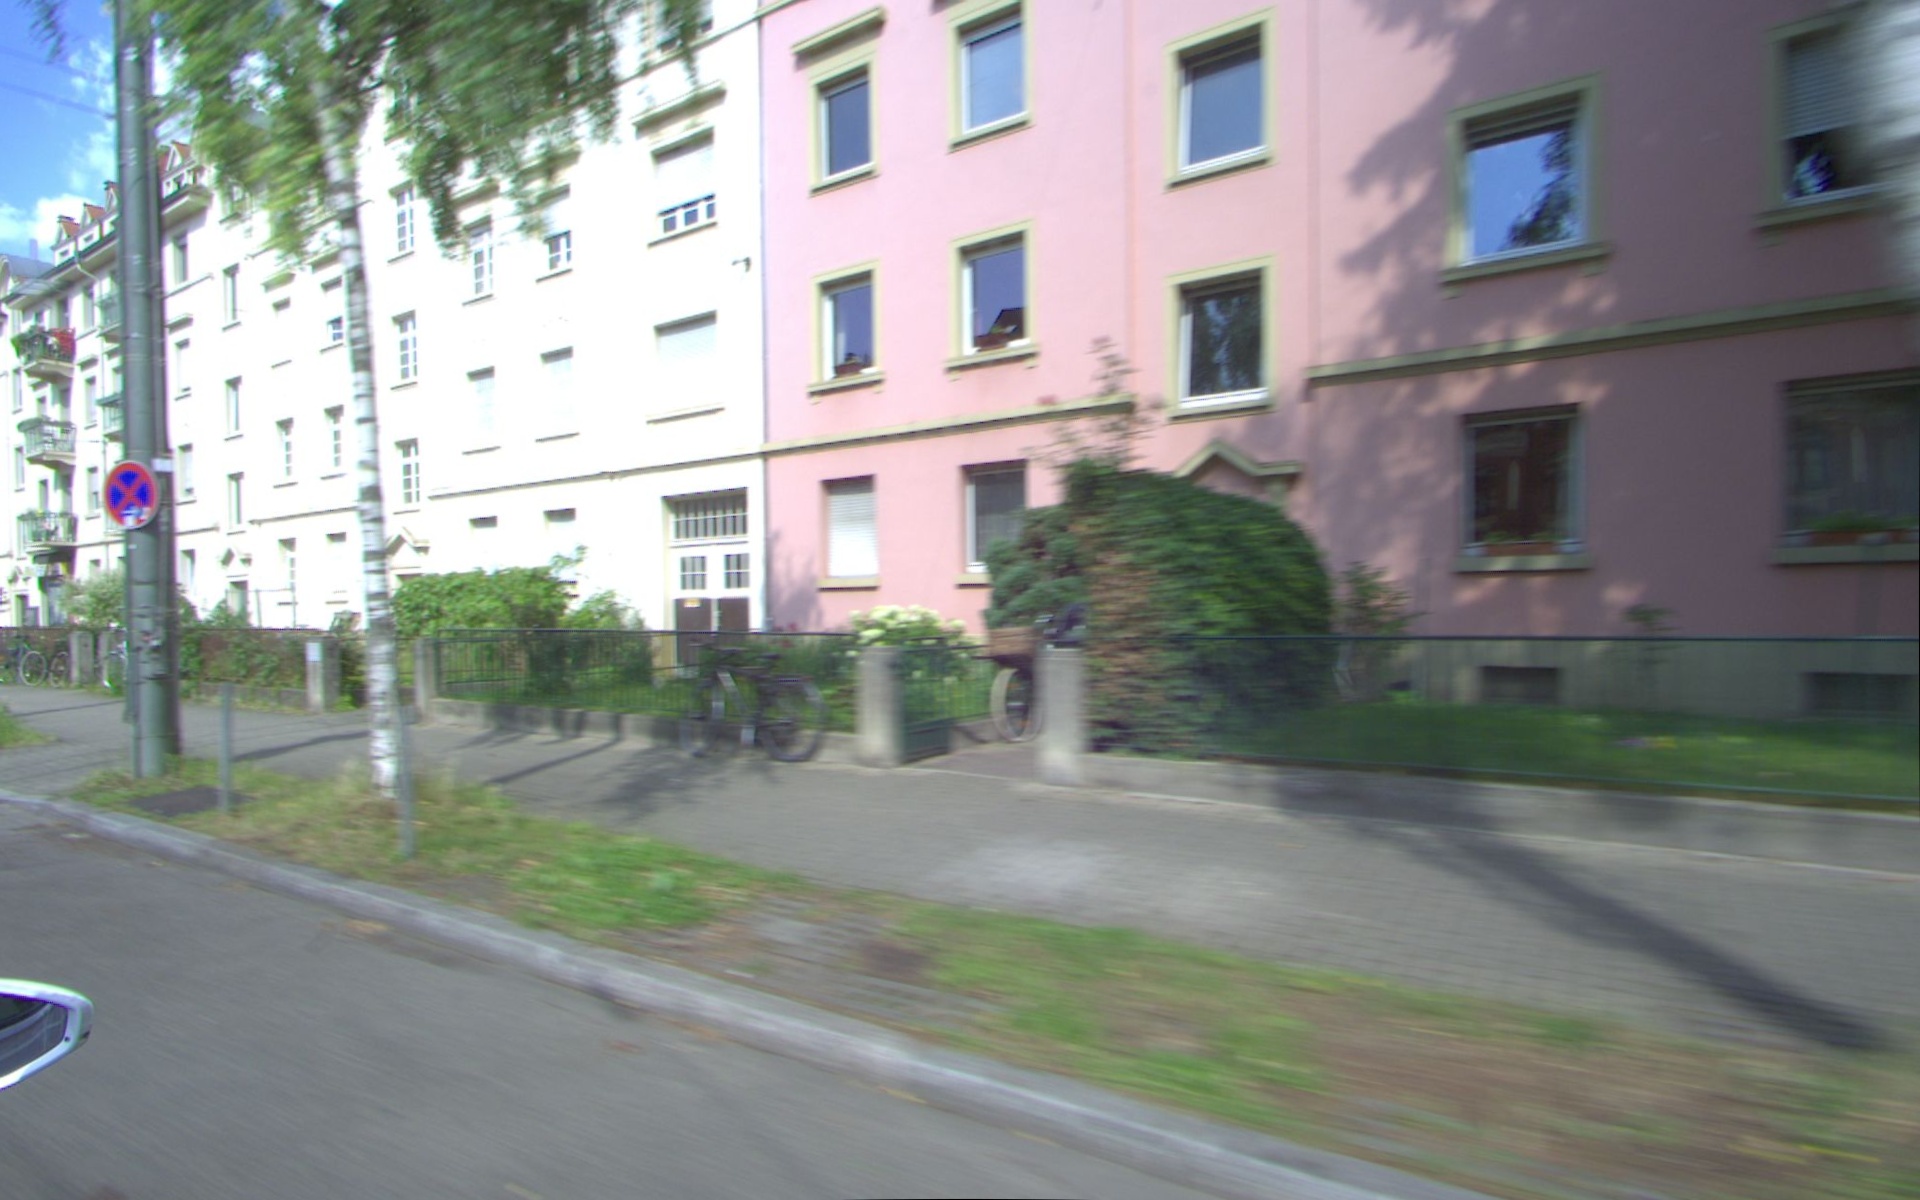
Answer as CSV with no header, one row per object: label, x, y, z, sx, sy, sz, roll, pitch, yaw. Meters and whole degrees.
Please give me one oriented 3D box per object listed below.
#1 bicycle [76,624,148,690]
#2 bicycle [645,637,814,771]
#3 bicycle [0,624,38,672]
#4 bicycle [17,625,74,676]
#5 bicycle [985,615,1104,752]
bicycle,-15.214,1.001,17.941,2.153,1.091,0.470,0,1,36
bicycle,-2.094,0.884,8.971,1.754,1.067,0.418,0,1,35
bicycle,-20.039,1.001,21.225,1.563,0.951,0.386,0,0,34
bicycle,-18.429,1.007,20.169,1.981,0.956,0.377,0,0,34
bicycle,0.886,0.781,10.042,0.415,1.236,1.769,0,0,32
